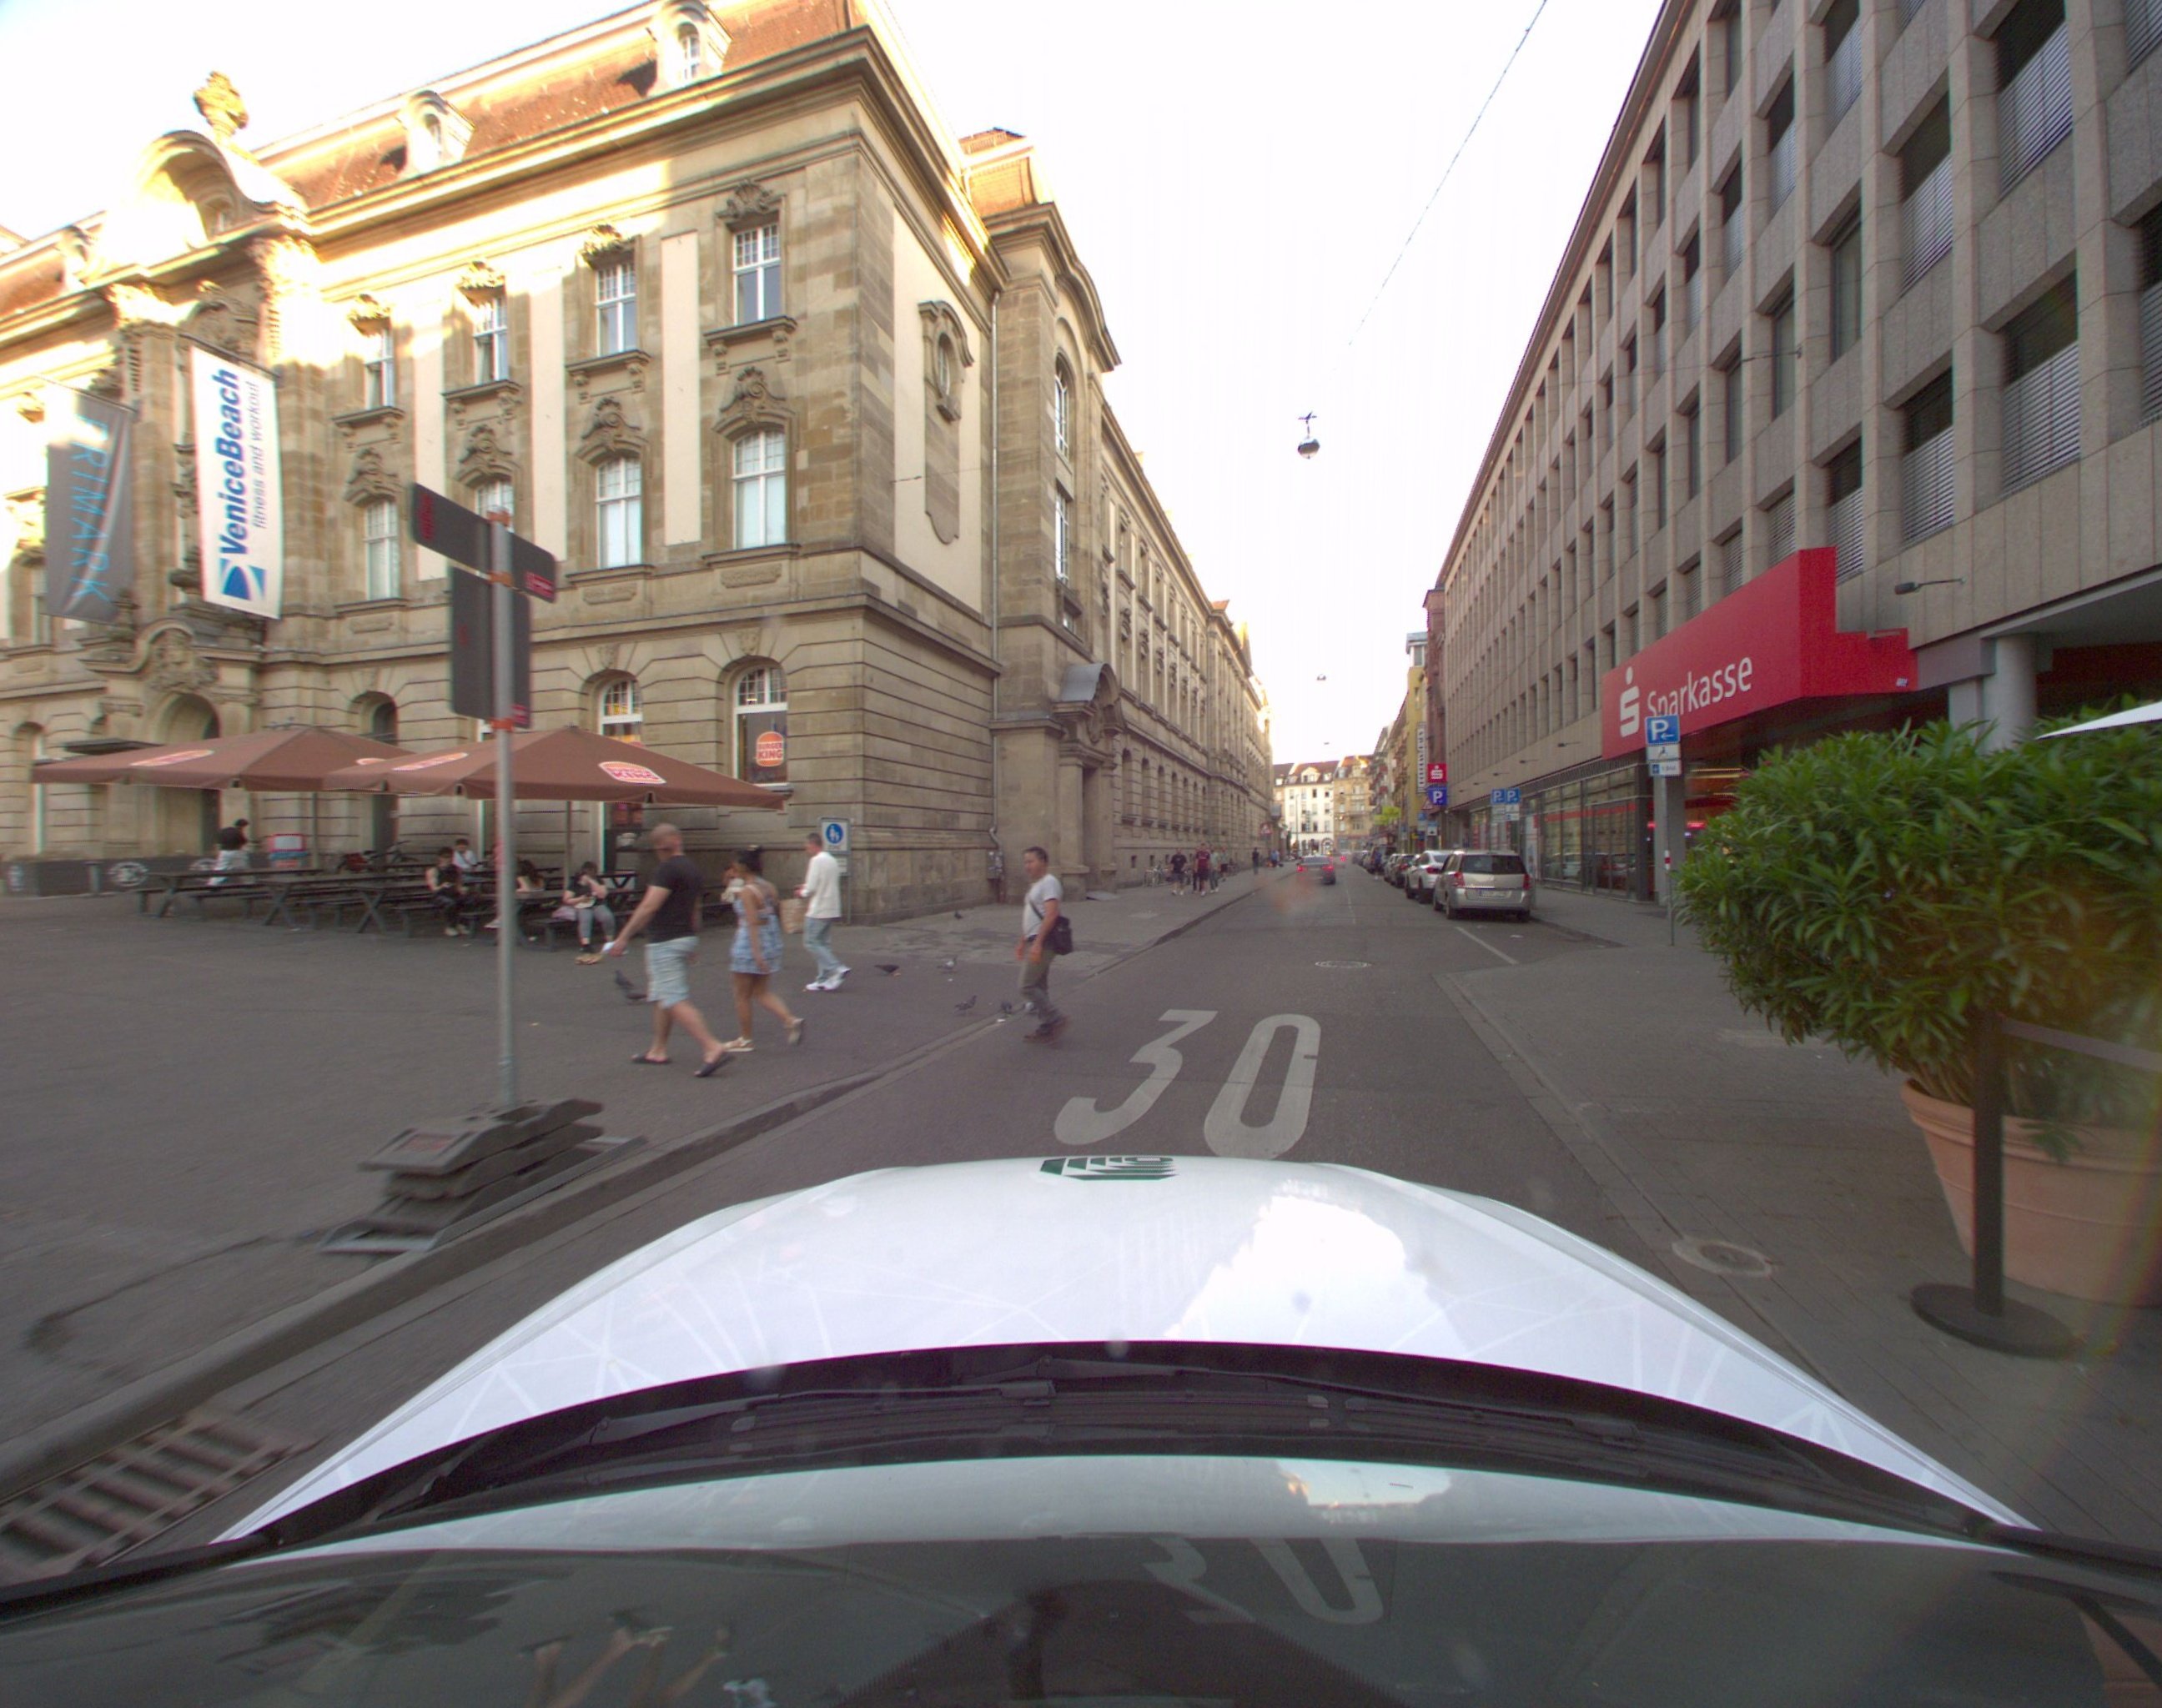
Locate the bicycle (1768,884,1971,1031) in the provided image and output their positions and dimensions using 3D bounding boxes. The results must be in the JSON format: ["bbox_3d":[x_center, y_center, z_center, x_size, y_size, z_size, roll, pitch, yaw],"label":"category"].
[{"bbox_3d":[6.704,0.823,7.040,0.554,1.041,1.693,-2,0,18],"label":"bicycle"}]

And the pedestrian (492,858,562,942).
[{"bbox_3d":[-8.471,0.684,12.467,0.692,1.226,0.621,2,0,32],"label":"pedestrian"}]

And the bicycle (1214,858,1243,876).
[{"bbox_3d":[9.193,0.816,50.717,1.667,1.041,0.489,1,0,16],"label":"bicycle"}]

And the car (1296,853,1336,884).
[{"bbox_3d":[11.558,0.673,40.021,1.756,1.409,4.070,-2,-1,17],"label":"car"}]

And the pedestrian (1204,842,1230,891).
[{"bbox_3d":[5.006,0.458,29.935,0.781,1.752,0.725,3,1,15],"label":"pedestrian"}]

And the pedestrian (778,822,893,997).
[{"bbox_3d":[-2.743,0.586,9.169,0.865,1.839,0.870,2,1,12],"label":"pedestrian"}]

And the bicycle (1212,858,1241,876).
[{"bbox_3d":[8.845,0.811,49.472,1.667,1.041,0.489,1,0,16],"label":"bicycle"}]

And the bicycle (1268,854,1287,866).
[{"bbox_3d":[19.305,0.565,80.017,1.666,1.041,0.489,3,1,18],"label":"bicycle"}]

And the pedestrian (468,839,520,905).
[{"bbox_3d":[-12.049,0.363,16.720,0.576,1.309,0.596,2,0,15],"label":"pedestrian"}]

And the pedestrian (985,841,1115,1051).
[{"bbox_3d":[-0.274,0.729,6.938,0.874,1.646,0.726,0,-1,-28],"label":"pedestrian"}]

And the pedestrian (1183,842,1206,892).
[{"bbox_3d":[4.145,0.465,29.700,0.684,1.752,0.725,3,1,15],"label":"pedestrian"}]

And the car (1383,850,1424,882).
[{"bbox_3d":[16.259,0.585,41.130,1.631,1.523,3.299,1,1,17],"label":"car"}]

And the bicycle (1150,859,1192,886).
[{"bbox_3d":[3.709,0.755,33.576,1.665,1.041,0.490,1,0,22],"label":"bicycle"}]

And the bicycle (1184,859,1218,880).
[{"bbox_3d":[6.237,0.785,42.185,1.667,1.041,0.489,1,0,16],"label":"bicycle"}]

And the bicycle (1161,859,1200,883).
[{"bbox_3d":[4.422,0.762,36.336,1.674,1.041,0.487,1,0,0],"label":"bicycle"}]

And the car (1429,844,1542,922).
[{"bbox_3d":[9.579,0.608,19.606,1.756,1.636,4.070,1,1,17],"label":"car"}]

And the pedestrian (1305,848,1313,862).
[{"bbox_3d":[30.081,0.110,107.506,0.927,1.752,0.813,3,1,14],"label":"pedestrian"}]

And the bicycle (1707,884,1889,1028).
[{"bbox_3d":[6.215,0.829,7.169,0.554,1.041,1.693,-2,0,18],"label":"bicycle"}]

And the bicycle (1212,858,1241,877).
[{"bbox_3d":[8.746,0.809,49.015,1.667,1.041,0.489,1,0,16],"label":"bicycle"}]

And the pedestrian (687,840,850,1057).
[{"bbox_3d":[-2.458,0.698,6.476,0.864,1.581,0.810,0,-1,17],"label":"pedestrian"}]

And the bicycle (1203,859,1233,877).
[{"bbox_3d":[7.971,0.805,47.373,1.667,1.041,0.489,1,0,16],"label":"bicycle"}]

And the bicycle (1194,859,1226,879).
[{"bbox_3d":[6.988,0.792,44.164,1.667,1.041,0.489,1,0,16],"label":"bicycle"}]

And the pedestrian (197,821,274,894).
[{"bbox_3d":[-18.540,0.072,17.888,0.849,1.566,0.846,1,1,-16],"label":"pedestrian"}]

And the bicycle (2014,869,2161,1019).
[{"bbox_3d":[8.626,0.702,6.460,0.542,1.117,1.817,-2,0,9],"label":"bicycle"}]

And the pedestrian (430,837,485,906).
[{"bbox_3d":[-12.314,0.341,16.085,0.576,1.309,0.596,2,0,13],"label":"pedestrian"}]

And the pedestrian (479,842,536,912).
[{"bbox_3d":[-11.206,0.435,15.925,0.602,1.309,0.611,2,0,13],"label":"pedestrian"}]

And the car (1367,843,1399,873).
[{"bbox_3d":[21.279,0.242,57.445,1.855,2.018,3.782,1,1,17],"label":"car"}]

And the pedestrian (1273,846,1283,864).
[{"bbox_3d":[19.236,0.115,79.367,0.801,1.752,0.940,3,1,16],"label":"pedestrian"}]

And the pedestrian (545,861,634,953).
[{"bbox_3d":[-7.154,0.745,11.858,0.817,1.243,0.786,2,0,31],"label":"pedestrian"}]

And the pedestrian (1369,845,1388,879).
[{"bbox_3d":[15.909,0.416,43.501,0.717,1.791,0.828,-1,0,39],"label":"pedestrian"}]

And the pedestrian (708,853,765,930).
[{"bbox_3d":[-6.232,0.657,14.734,0.763,1.308,0.669,4,3,42],"label":"pedestrian"}]

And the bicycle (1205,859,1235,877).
[{"bbox_3d":[8.164,0.806,47.792,1.667,1.041,0.489,1,0,16],"label":"bicycle"}]

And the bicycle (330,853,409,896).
[{"bbox_3d":[-15.872,0.431,18.204,0.406,0.894,1.327,0,1,13],"label":"bicycle"}]

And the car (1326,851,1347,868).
[{"bbox_3d":[24.046,0.471,76.641,1.780,1.510,4.017,0,0,16],"label":"car"}]

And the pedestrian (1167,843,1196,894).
[{"bbox_3d":[3.490,0.492,28.240,0.791,1.675,0.979,3,1,15],"label":"pedestrian"}]

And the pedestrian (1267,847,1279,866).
[{"bbox_3d":[16.601,0.225,70.261,0.926,1.636,0.657,3,1,15],"label":"pedestrian"}]

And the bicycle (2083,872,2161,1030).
[{"bbox_3d":[8.004,0.710,5.536,0.540,1.117,1.821,-2,0,17],"label":"bicycle"}]

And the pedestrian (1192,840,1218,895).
[{"bbox_3d":[4.279,0.455,28.043,0.692,1.812,0.979,3,1,15],"label":"pedestrian"}]

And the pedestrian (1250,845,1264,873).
[{"bbox_3d":[11.507,0.332,53.164,0.798,1.752,0.813,3,1,15],"label":"pedestrian"}]

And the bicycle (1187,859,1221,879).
[{"bbox_3d":[6.493,0.789,42.982,1.667,1.041,0.489,1,0,16],"label":"bicycle"}]

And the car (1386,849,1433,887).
[{"bbox_3d":[14.396,0.574,35.821,1.631,1.523,3.299,1,1,17],"label":"car"}]

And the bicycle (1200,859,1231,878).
[{"bbox_3d":[7.608,0.800,46.185,1.667,1.041,0.489,1,0,16],"label":"bicycle"}]

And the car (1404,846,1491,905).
[{"bbox_3d":[11.260,0.593,25.296,1.757,1.636,4.106,1,1,14],"label":"car"}]

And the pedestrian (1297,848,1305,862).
[{"bbox_3d":[29.053,0.121,107.491,0.927,1.752,0.813,3,1,14],"label":"pedestrian"}]

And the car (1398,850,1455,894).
[{"bbox_3d":[13.000,0.620,30.766,1.631,1.523,3.299,1,1,17],"label":"car"}]

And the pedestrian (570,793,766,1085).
[{"bbox_3d":[-2.836,0.544,5.660,0.864,1.840,0.810,0,-1,17],"label":"pedestrian"}]

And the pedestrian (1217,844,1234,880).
[{"bbox_3d":[7.307,0.410,41.073,0.713,1.752,0.671,3,1,15],"label":"pedestrian"}]

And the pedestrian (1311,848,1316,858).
[{"bbox_3d":[40.943,-0.154,143.391,0.661,1.752,0.683,3,1,14],"label":"pedestrian"}]

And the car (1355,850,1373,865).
[{"bbox_3d":[30.003,0.322,86.370,1.631,1.523,3.299,1,1,17],"label":"car"}]

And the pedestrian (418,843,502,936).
[{"bbox_3d":[-9.741,0.539,12.788,0.645,1.383,0.811,2,0,28],"label":"pedestrian"}]

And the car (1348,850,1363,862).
[{"bbox_3d":[33.811,0.232,100.204,1.631,1.523,3.299,1,1,17],"label":"car"}]
